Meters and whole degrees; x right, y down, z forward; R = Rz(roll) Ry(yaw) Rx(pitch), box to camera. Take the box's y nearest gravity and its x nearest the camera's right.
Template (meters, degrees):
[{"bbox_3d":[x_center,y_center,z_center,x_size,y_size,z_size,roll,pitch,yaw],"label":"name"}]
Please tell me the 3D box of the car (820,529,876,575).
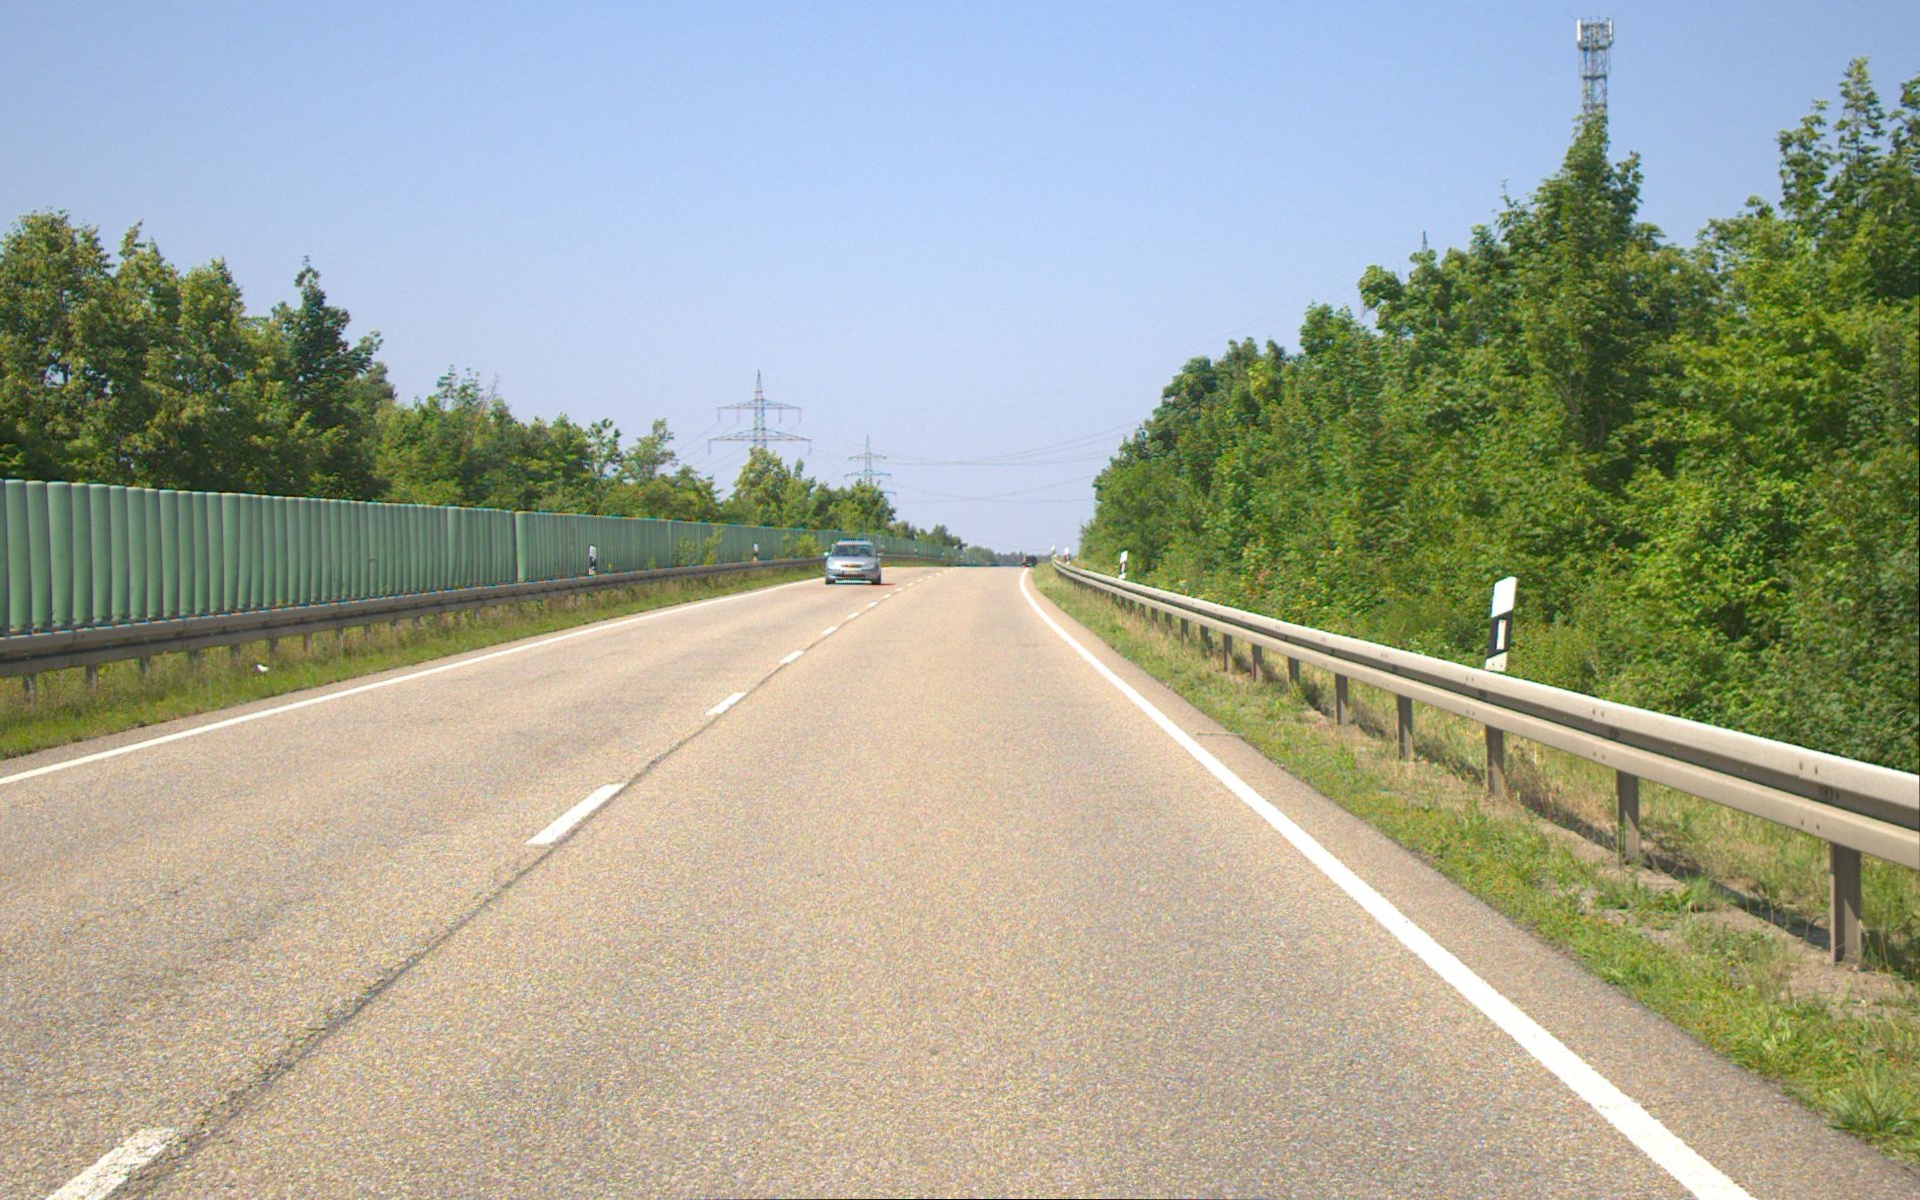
[{"bbox_3d":[-3.719,-1.610,114.841,1.720,1.496,4.248,0,1,0],"label":"car"}]
